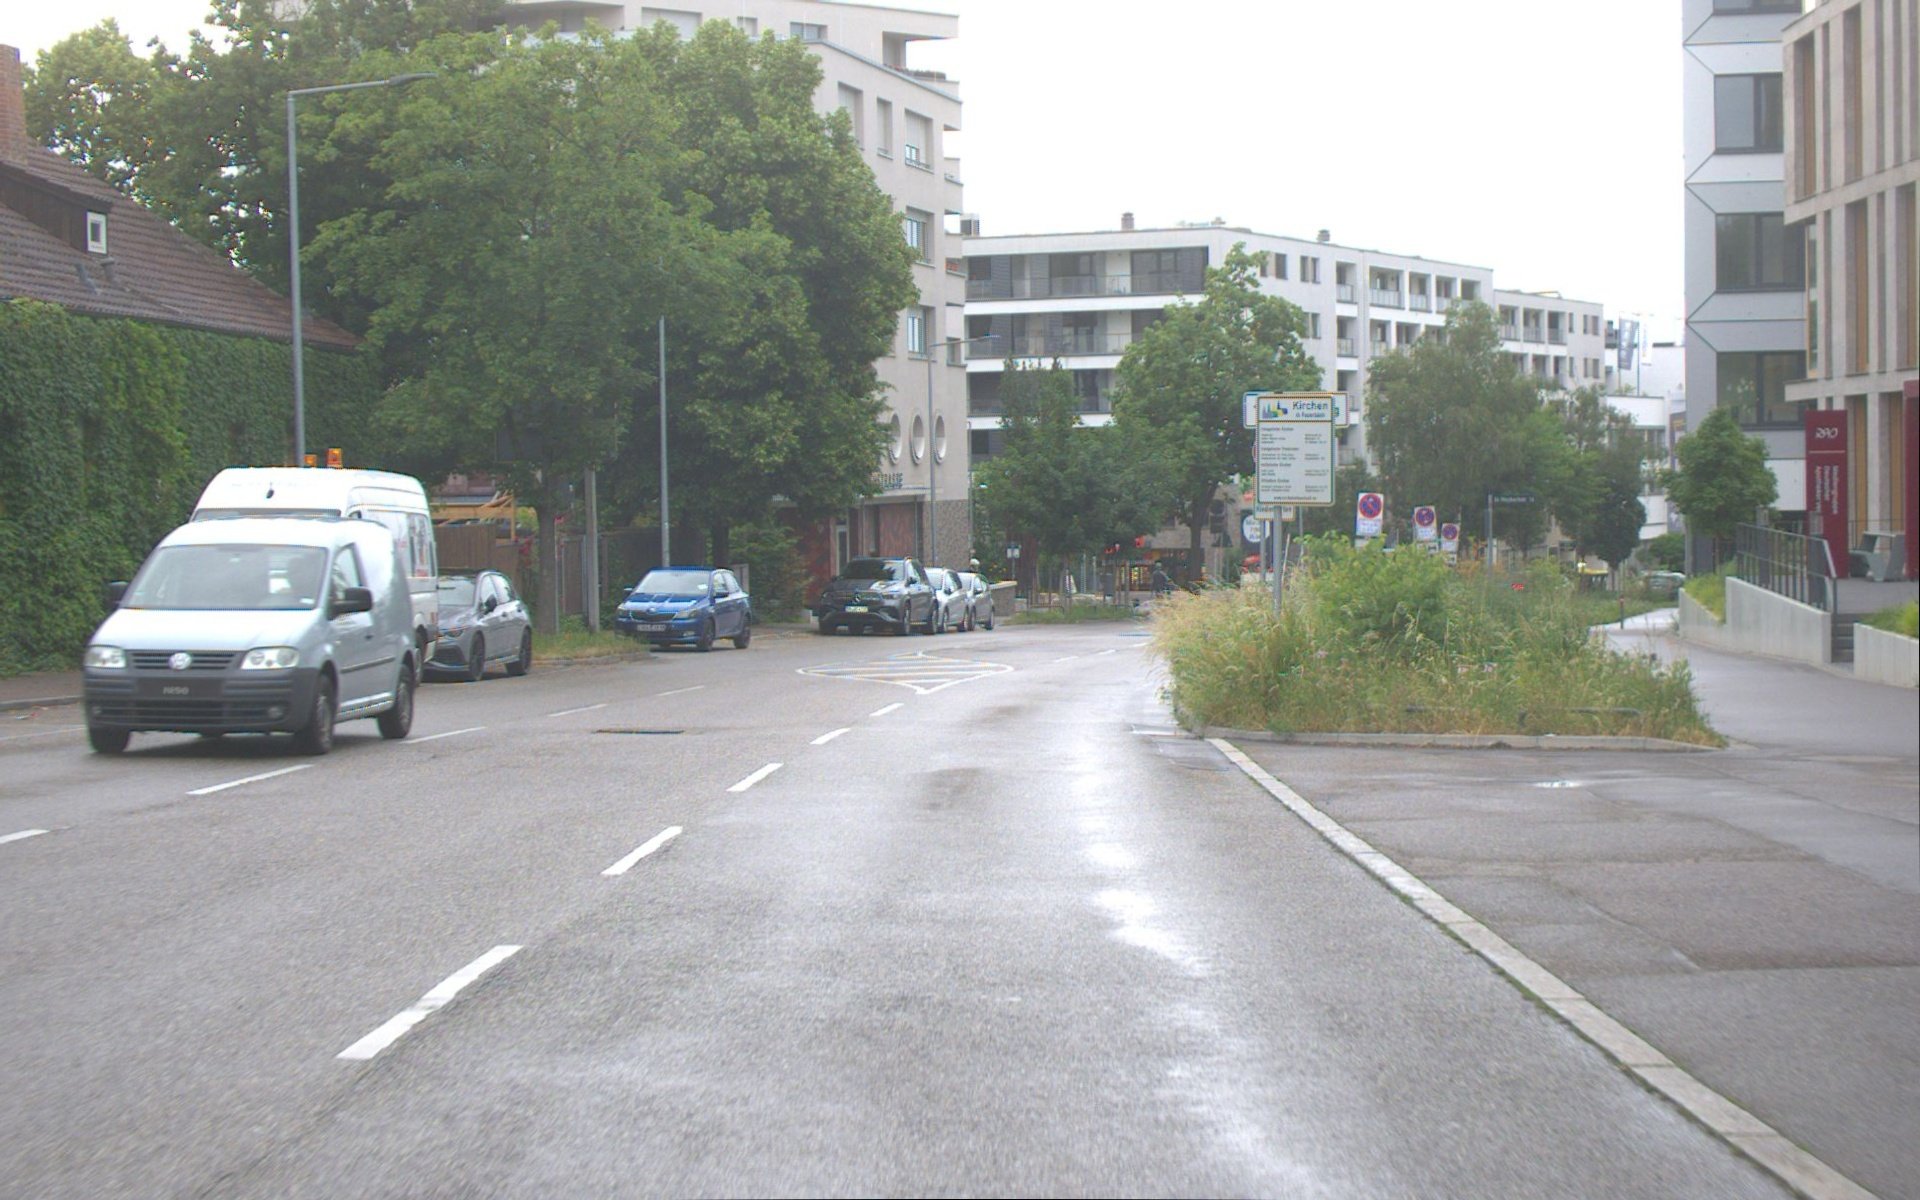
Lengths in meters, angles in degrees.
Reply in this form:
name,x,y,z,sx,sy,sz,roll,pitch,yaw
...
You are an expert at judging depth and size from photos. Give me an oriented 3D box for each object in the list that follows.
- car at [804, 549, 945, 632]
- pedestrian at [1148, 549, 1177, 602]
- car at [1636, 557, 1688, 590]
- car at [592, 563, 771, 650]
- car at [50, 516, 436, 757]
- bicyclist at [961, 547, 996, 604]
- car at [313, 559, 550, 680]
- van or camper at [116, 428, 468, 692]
name,x,y,z,sx,sy,sz,roll,pitch,yaw
car,-1.884,-0.230,77.892,1.994,1.780,5.408,1,1,12
pedestrian,7.641,-0.928,129.725,1.055,2.007,1.099,1,0,4
car,33.062,-1.259,161.836,1.548,1.473,3.655,1,2,26
car,-4.897,0.093,60.999,1.995,1.465,4.183,1,1,13
car,-5.474,0.239,26.836,1.895,1.699,4.509,1,1,2
bicyclist,0.495,-0.661,92.081,0.801,1.517,1.201,1,0,6
car,-6.958,0.225,45.736,1.994,1.507,4.422,1,1,7
van or camper,-7.498,-0.491,39.338,2.340,2.755,6.141,1,1,5
